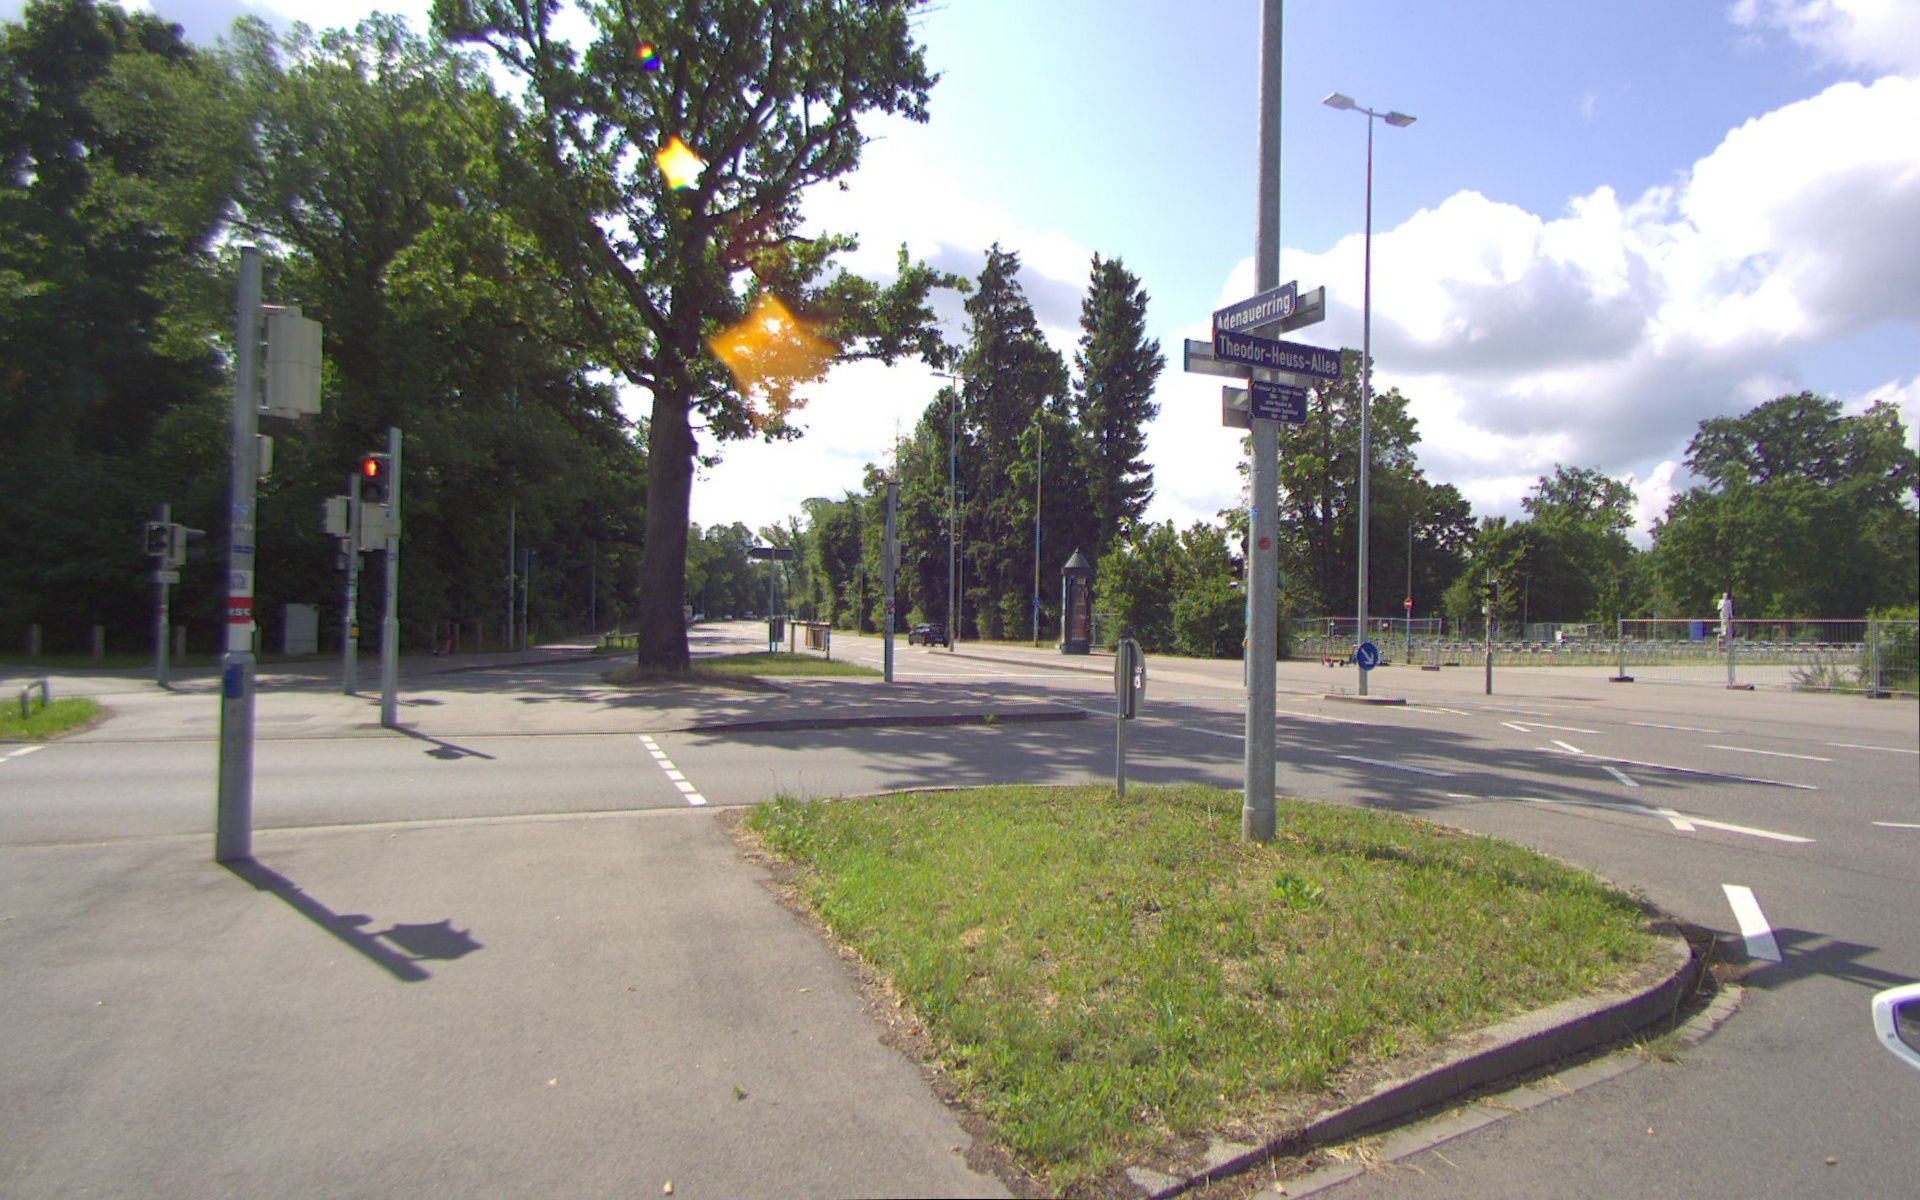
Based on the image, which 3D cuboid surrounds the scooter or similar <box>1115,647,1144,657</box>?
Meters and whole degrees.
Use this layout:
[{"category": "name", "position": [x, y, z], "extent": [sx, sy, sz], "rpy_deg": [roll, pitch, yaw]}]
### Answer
[{"category": "scooter or similar", "position": [9.006, 2.748, 53.412], "extent": [0.844, 0.393, 1.465], "rpy_deg": [8, -3, -23]}]

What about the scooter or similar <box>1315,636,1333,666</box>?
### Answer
[{"category": "scooter or similar", "position": [15.161, 2.111, 41.878], "extent": [0.399, 1.216, 1.312], "rpy_deg": [0, -1, 6]}]

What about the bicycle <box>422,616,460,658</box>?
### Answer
[{"category": "bicycle", "position": [-15.269, 1.076, 29.574], "extent": [0.413, 1.188, 1.230], "rpy_deg": [2, -2, 0]}]

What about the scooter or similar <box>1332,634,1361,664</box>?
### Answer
[{"category": "scooter or similar", "position": [16.254, 2.053, 42.277], "extent": [1.296, 1.268, 0.404], "rpy_deg": [1, -1, -29]}]

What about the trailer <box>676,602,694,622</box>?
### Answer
[{"category": "trailer", "position": [-34.585, 1.498, 126.381], "extent": [1.967, 2.420, 3.989], "rpy_deg": [3, -2, -14]}]

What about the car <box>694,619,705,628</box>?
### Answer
[{"category": "car", "position": [-45.029, 4.092, 173.940], "extent": [1.481, 1.465, 3.523], "rpy_deg": [2, -2, -10]}]

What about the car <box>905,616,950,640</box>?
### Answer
[{"category": "car", "position": [-2.084, 1.749, 63.820], "extent": [1.579, 1.396, 3.956], "rpy_deg": [3, -2, -22]}]
